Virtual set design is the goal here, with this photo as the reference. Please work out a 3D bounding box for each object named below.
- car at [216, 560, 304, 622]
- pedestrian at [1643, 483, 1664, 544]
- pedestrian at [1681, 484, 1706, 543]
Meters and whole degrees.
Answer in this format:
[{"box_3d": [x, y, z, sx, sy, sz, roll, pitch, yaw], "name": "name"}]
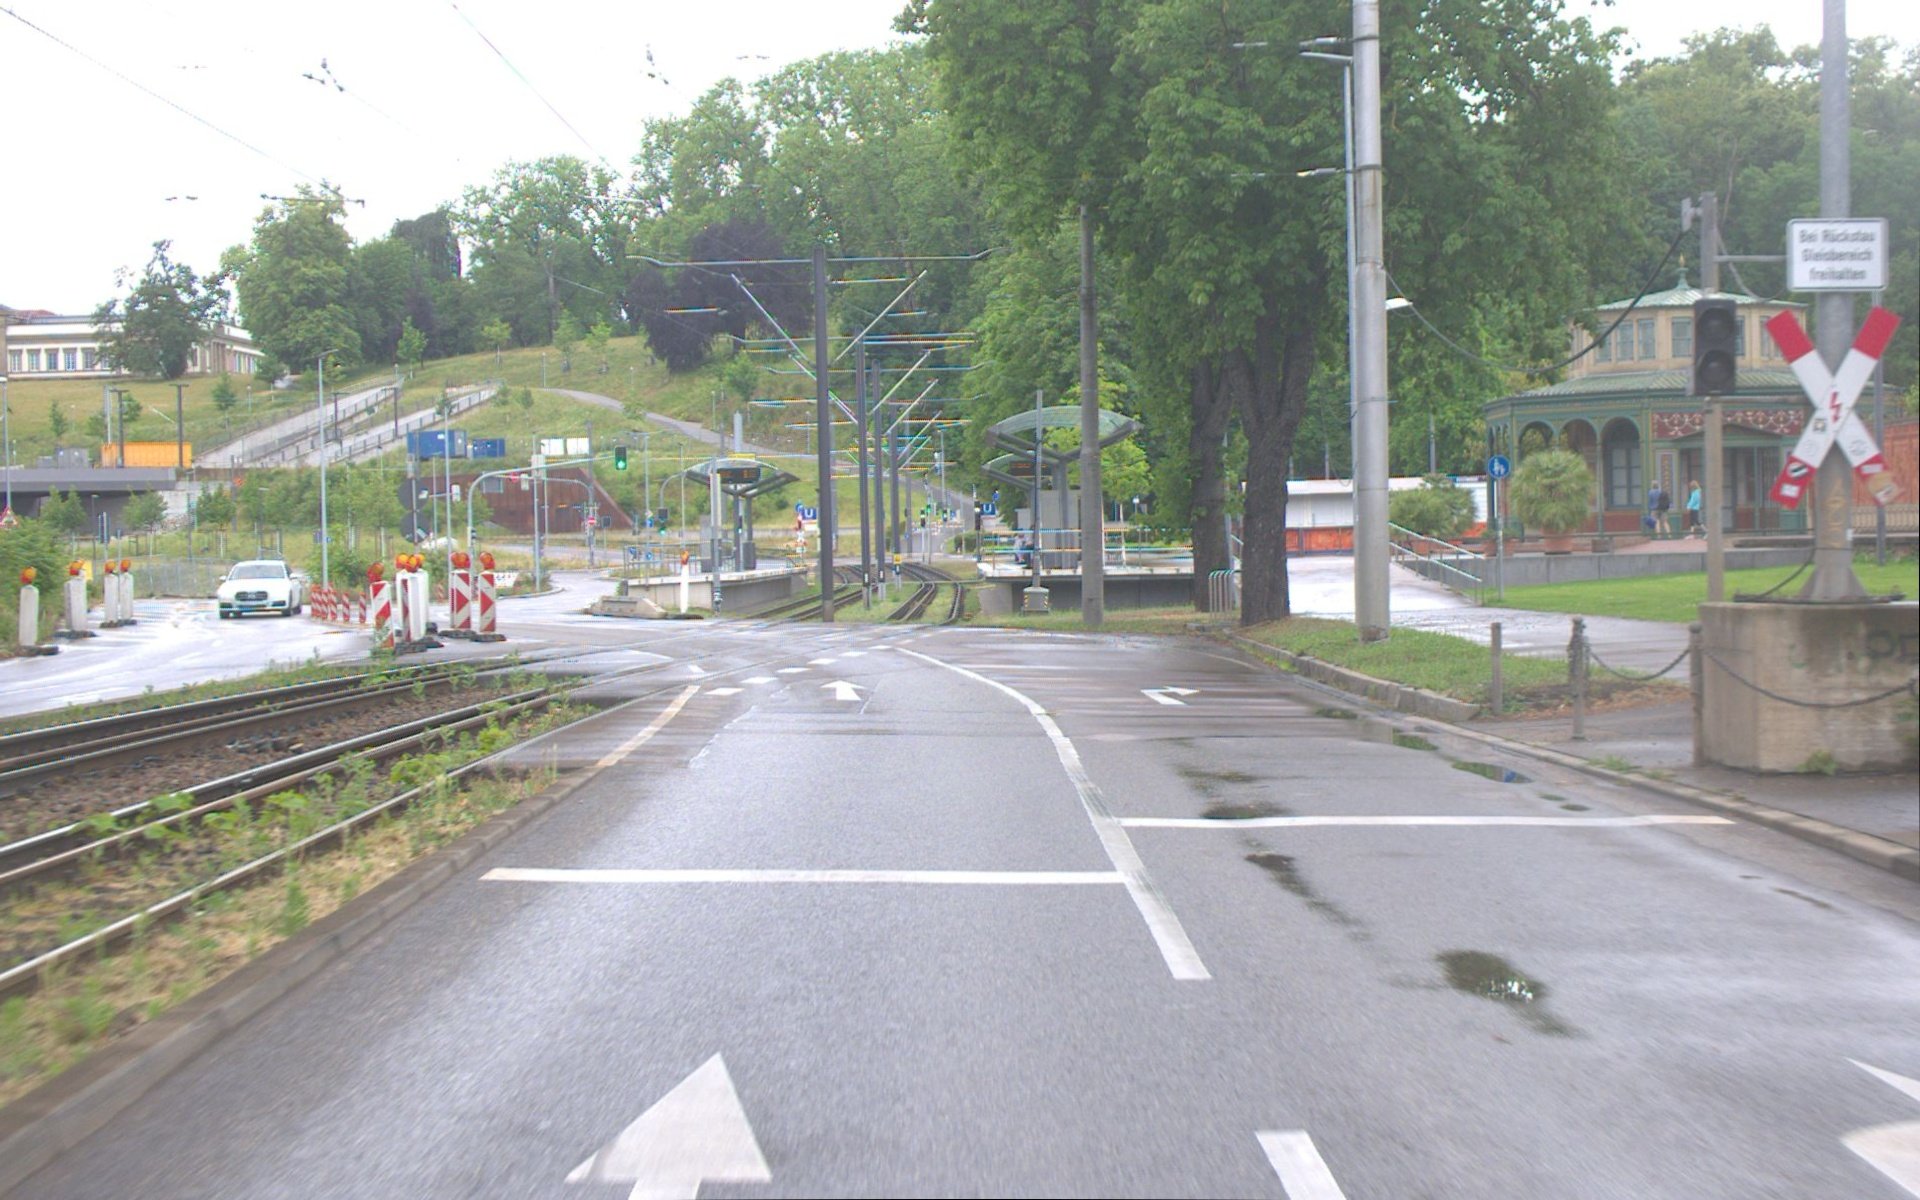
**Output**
[{"box_3d": [-18.194, -0.260, 89.469, 1.708, 1.493, 4.721, -2, 1, -5], "name": "car"}, {"box_3d": [19.842, -2.483, 98.364, 0.531, 1.705, 0.695, 1, -1, 11], "name": "pedestrian"}, {"box_3d": [20.833, -2.453, 97.657, 0.551, 1.651, 0.468, -1, 0, 35], "name": "pedestrian"}]
